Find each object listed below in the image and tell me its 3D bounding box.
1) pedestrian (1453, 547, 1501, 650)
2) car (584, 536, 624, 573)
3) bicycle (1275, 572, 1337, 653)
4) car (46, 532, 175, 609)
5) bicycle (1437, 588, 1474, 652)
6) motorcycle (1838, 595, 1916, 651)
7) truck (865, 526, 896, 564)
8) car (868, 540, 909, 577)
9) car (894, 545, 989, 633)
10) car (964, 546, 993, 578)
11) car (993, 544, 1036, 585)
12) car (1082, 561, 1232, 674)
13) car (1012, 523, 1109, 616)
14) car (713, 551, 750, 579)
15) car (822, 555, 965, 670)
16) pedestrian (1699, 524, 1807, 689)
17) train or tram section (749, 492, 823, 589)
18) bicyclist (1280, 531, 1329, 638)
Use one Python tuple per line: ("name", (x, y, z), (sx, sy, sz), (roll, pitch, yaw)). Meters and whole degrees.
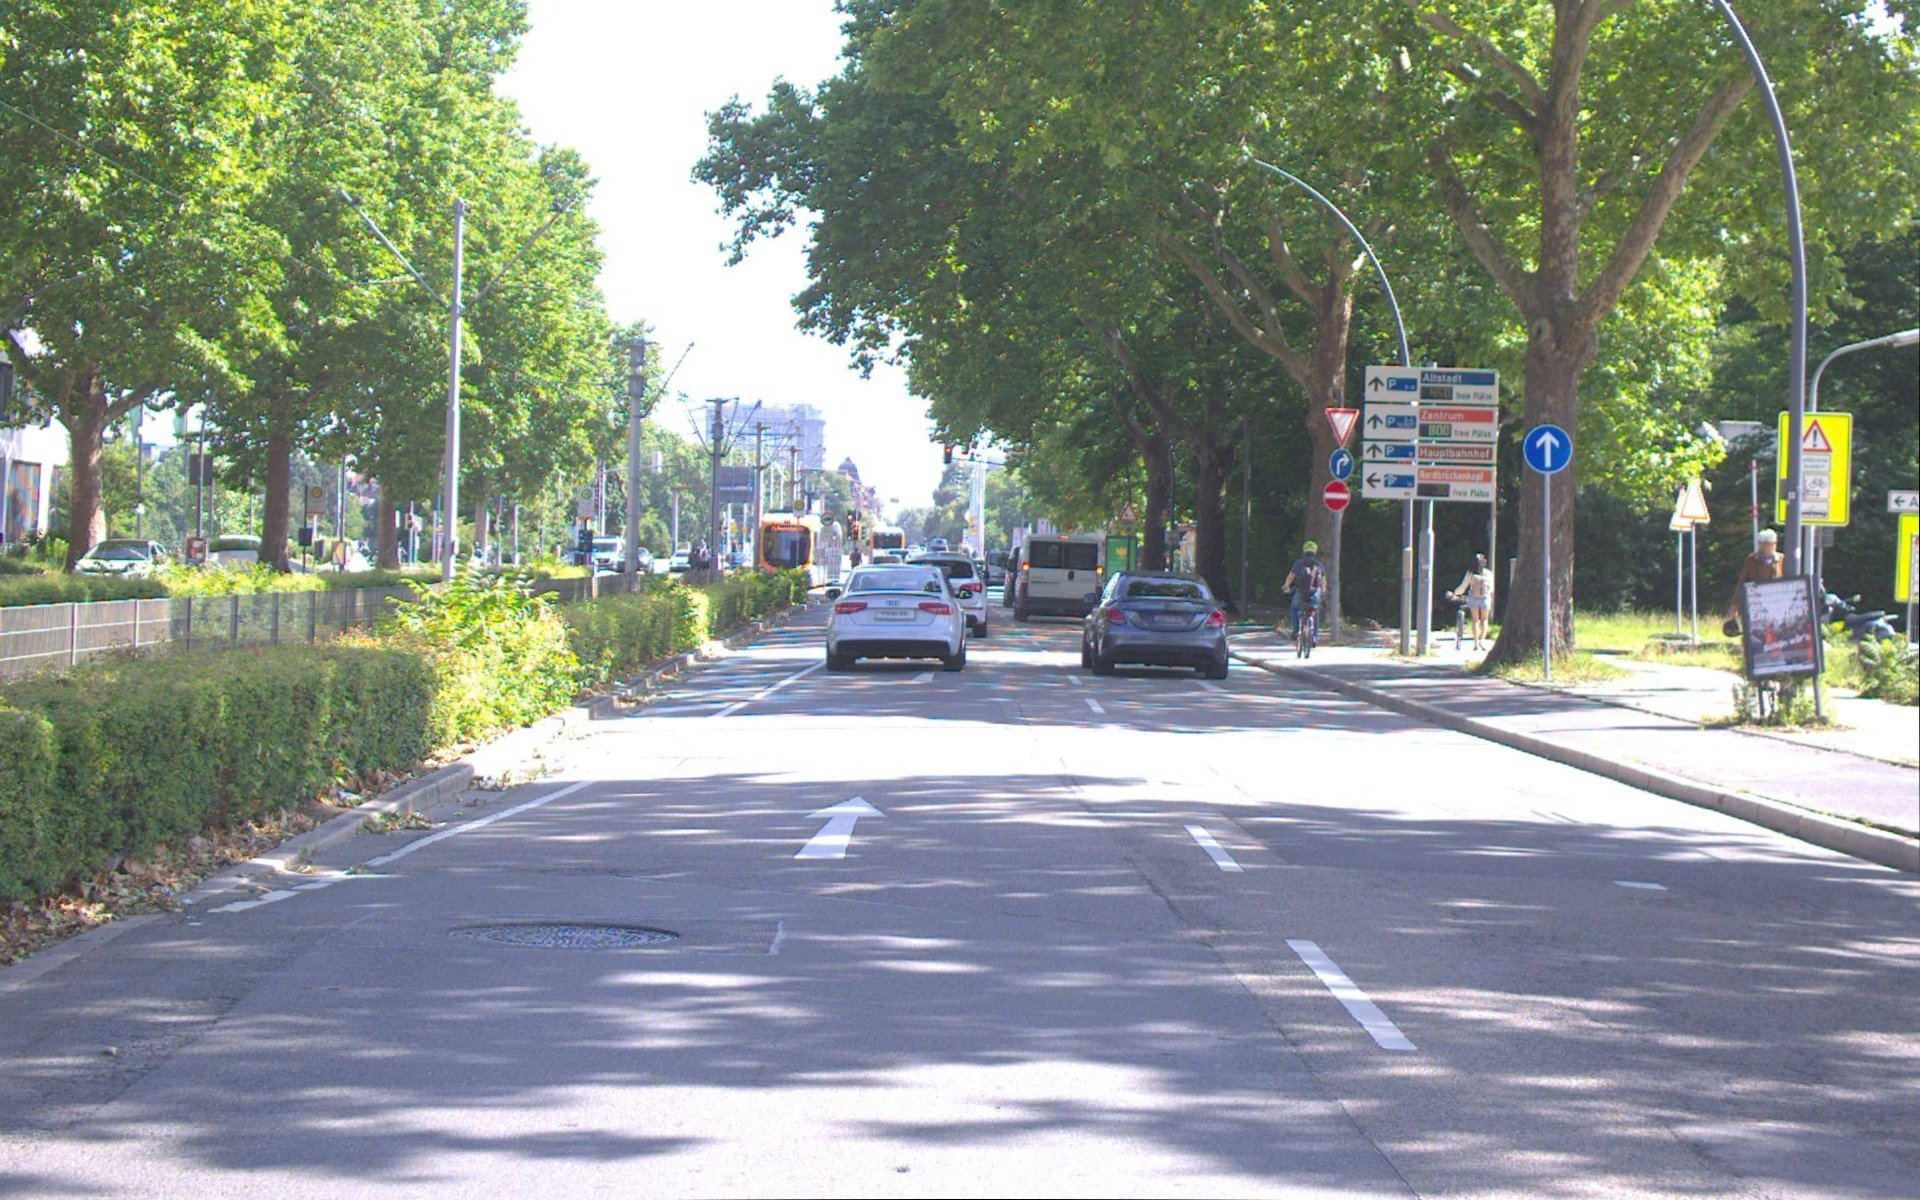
("pedestrian", (9.076, -0.038, 60.392), (0.632, 1.779, 0.874), (2, 1, 0))
("car", (-23.228, -2.966, 224.593), (2.114, 2.374, 4.000), (2, 1, 0))
("bicycle", (5.413, 0.190, 53.858), (0.714, 1.144, 2.179), (-1, 3, -1))
("car", (-18.383, -0.645, 74.550), (1.756, 1.564, 4.019), (2, 1, 0))
("bicycle", (8.686, 0.350, 60.247), (0.349, 1.078, 1.699), (2, 1, 0))
("motorcycle", (16.432, 0.415, 61.602), (1.219, 0.964, 0.471), (2, 1, -7))
("truck", (-5.974, -4.166, 260.647), (1.993, 2.780, 8.518), (2, 1, 0))
("car", (-3.257, -1.887, 157.067), (1.729, 1.625, 4.000), (2, 1, 0))
("car", (-0.339, -0.239, 66.715), (1.729, 1.599, 3.885), (2, 1, 0))
("car", (1.180, -2.403, 217.503), (1.729, 1.895, 4.000), (2, 1, 0))
("car", (2.732, -1.812, 173.826), (2.072, 1.992, 4.058), (2, 1, 0))
("car", (2.663, 0.210, 47.289), (1.782, 1.415, 4.000), (2, 1, 0))
("car", (2.483, -0.774, 86.207), (2.230, 2.204, 4.162), (2, 1, 0))
("car", (-14.641, -2.252, 220.275), (1.993, 1.728, 4.000), (2, 1, 0))
("car", (-0.855, 0.131, 46.181), (1.784, 1.416, 3.885), (2, 1, 0))
("pedestrian", (9.332, 0.064, 40.492), (0.939, 1.886, 1.151), (2, 1, 0))
("train or tram section", (-7.446, -2.542, 147.869), (2.617, 4.001, 7.749), (2, 1, 0))
("bicyclist", (5.395, -0.253, 53.907), (0.634, 1.642, 0.979), (-1, 2, -1))
